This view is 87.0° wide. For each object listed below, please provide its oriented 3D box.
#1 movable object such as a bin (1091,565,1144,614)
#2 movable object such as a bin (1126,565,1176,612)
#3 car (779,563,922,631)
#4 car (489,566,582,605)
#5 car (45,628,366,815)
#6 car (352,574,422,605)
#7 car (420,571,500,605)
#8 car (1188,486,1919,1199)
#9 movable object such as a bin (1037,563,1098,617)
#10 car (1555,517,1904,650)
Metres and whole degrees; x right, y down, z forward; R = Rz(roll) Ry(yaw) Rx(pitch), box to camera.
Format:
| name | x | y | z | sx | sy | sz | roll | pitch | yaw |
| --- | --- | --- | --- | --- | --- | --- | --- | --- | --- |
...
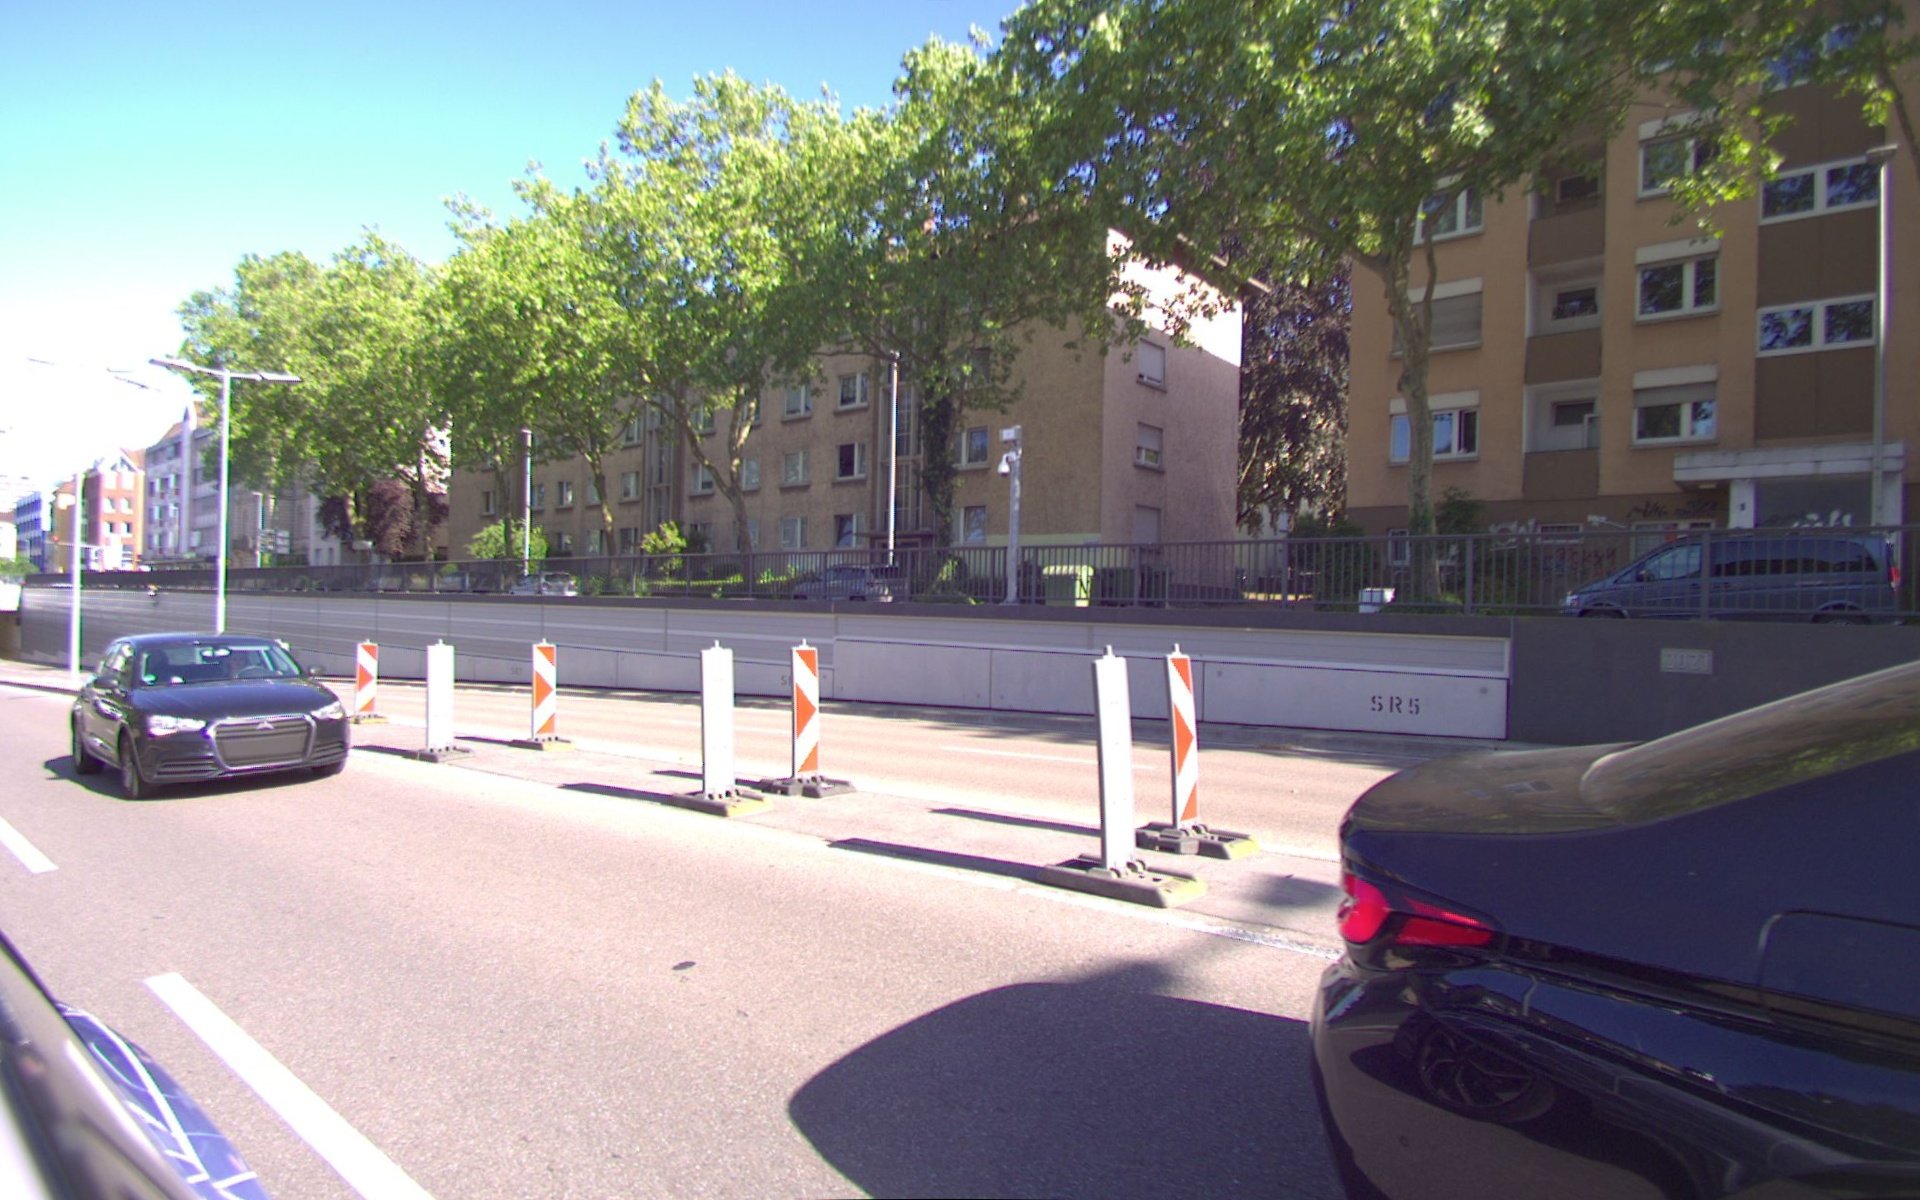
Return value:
| name | x | y | z | sx | sy | sz | roll | pitch | yaw |
| --- | --- | --- | --- | --- | --- | --- | --- | --- | --- |
| movable object such as a bin | 4.985 | -0.327 | 32.017 | 1.146 | 1.495 | 1.301 | 0 | 0 | 38 |
| movable object such as a bin | 6.278 | -0.360 | 33.205 | 1.146 | 1.495 | 1.301 | 0 | 0 | 38 |
| car | -3.471 | -0.094 | 31.523 | 4.411 | 1.975 | 1.945 | 0 | 0 | 41 |
| car | -18.579 | -0.614 | 44.222 | 4.299 | 1.596 | 1.902 | 0 | 0 | 39 |
| car | -7.517 | 1.045 | 9.955 | 3.885 | 1.429 | 1.678 | -2 | -1 | 40 |
| car | -31.544 | -0.561 | 55.674 | 4.299 | 1.596 | 1.902 | 0 | 0 | 39 |
| car | -24.580 | -0.591 | 49.722 | 4.299 | 1.596 | 1.902 | 0 | 0 | 39 |
| car | 2.893 | 0.587 | 0.932 | 4.998 | 1.450 | 1.790 | 0 | 1 | 40 |
| movable object such as a bin | 3.081 | -0.290 | 28.907 | 1.354 | 1.495 | 1.196 | 0 | 0 | 33 |
| car | 12.908 | -0.248 | 17.282 | 4.522 | 1.975 | 1.947 | 0 | 0 | 39 |
